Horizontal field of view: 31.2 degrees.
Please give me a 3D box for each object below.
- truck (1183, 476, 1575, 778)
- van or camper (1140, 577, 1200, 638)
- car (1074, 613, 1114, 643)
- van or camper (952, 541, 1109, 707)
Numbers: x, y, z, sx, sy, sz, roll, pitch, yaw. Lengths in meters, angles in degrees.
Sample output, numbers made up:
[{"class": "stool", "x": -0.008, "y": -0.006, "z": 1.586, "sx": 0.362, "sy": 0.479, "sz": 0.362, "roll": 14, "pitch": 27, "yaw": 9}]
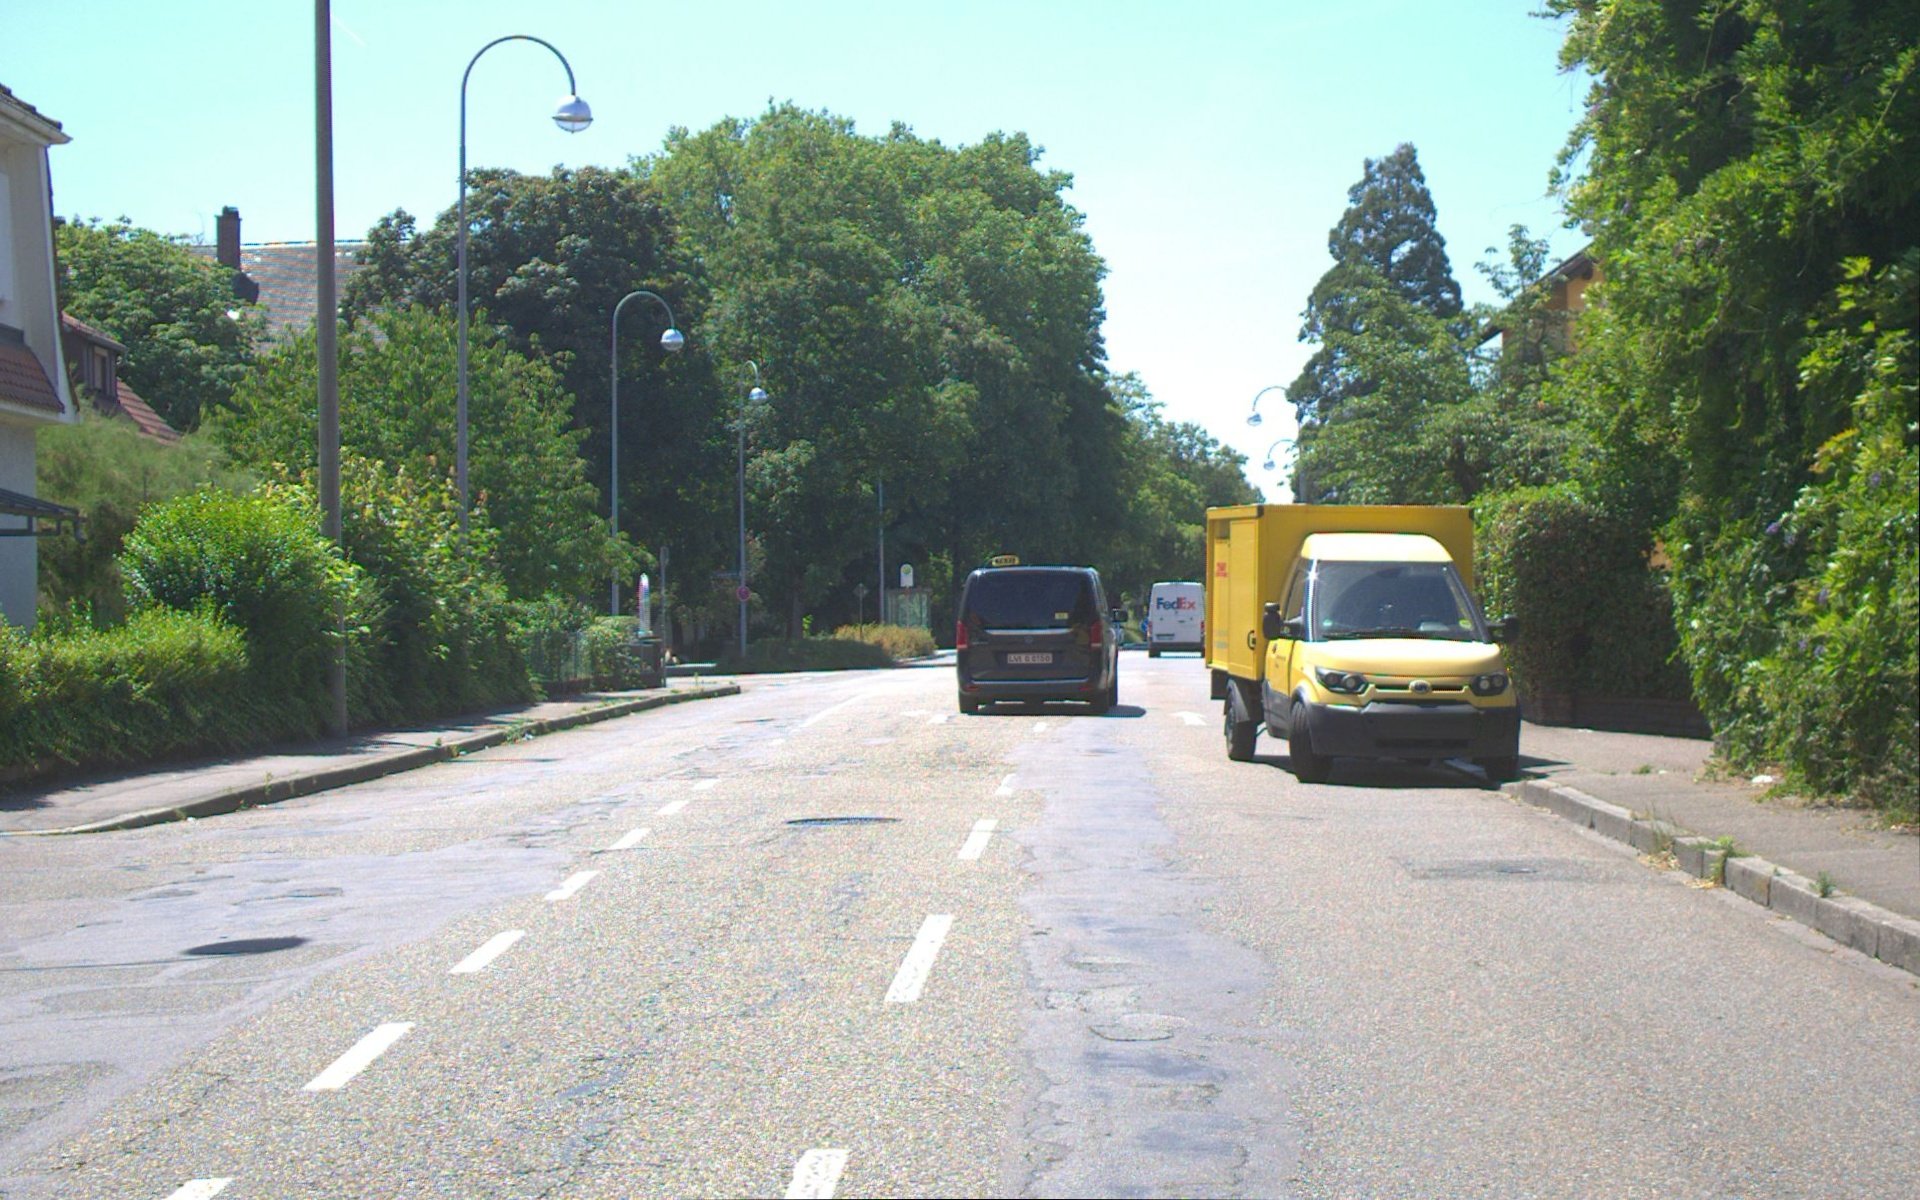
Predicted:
[{"class": "truck", "x": 3.386, "y": 0.201, "z": 29.200, "sx": 2.355, "sy": 2.251, "sz": 6.092, "roll": -1, "pitch": 0, "yaw": -2}, {"class": "van or camper", "x": 7.242, "y": 0.248, "z": 118.353, "sx": 1.994, "sy": 2.007, "sz": 3.999, "roll": -1, "pitch": 0, "yaw": 4}, {"class": "car", "x": 6.637, "y": 1.381, "z": 170.323, "sx": 1.549, "sy": 1.444, "sz": 3.004, "roll": -1, "pitch": 0, "yaw": 11}, {"class": "van or camper", "x": 0.943, "y": 0.279, "z": 44.401, "sx": 1.903, "sy": 2.007, "sz": 5.270, "roll": 0, "pitch": 0, "yaw": 2}]
